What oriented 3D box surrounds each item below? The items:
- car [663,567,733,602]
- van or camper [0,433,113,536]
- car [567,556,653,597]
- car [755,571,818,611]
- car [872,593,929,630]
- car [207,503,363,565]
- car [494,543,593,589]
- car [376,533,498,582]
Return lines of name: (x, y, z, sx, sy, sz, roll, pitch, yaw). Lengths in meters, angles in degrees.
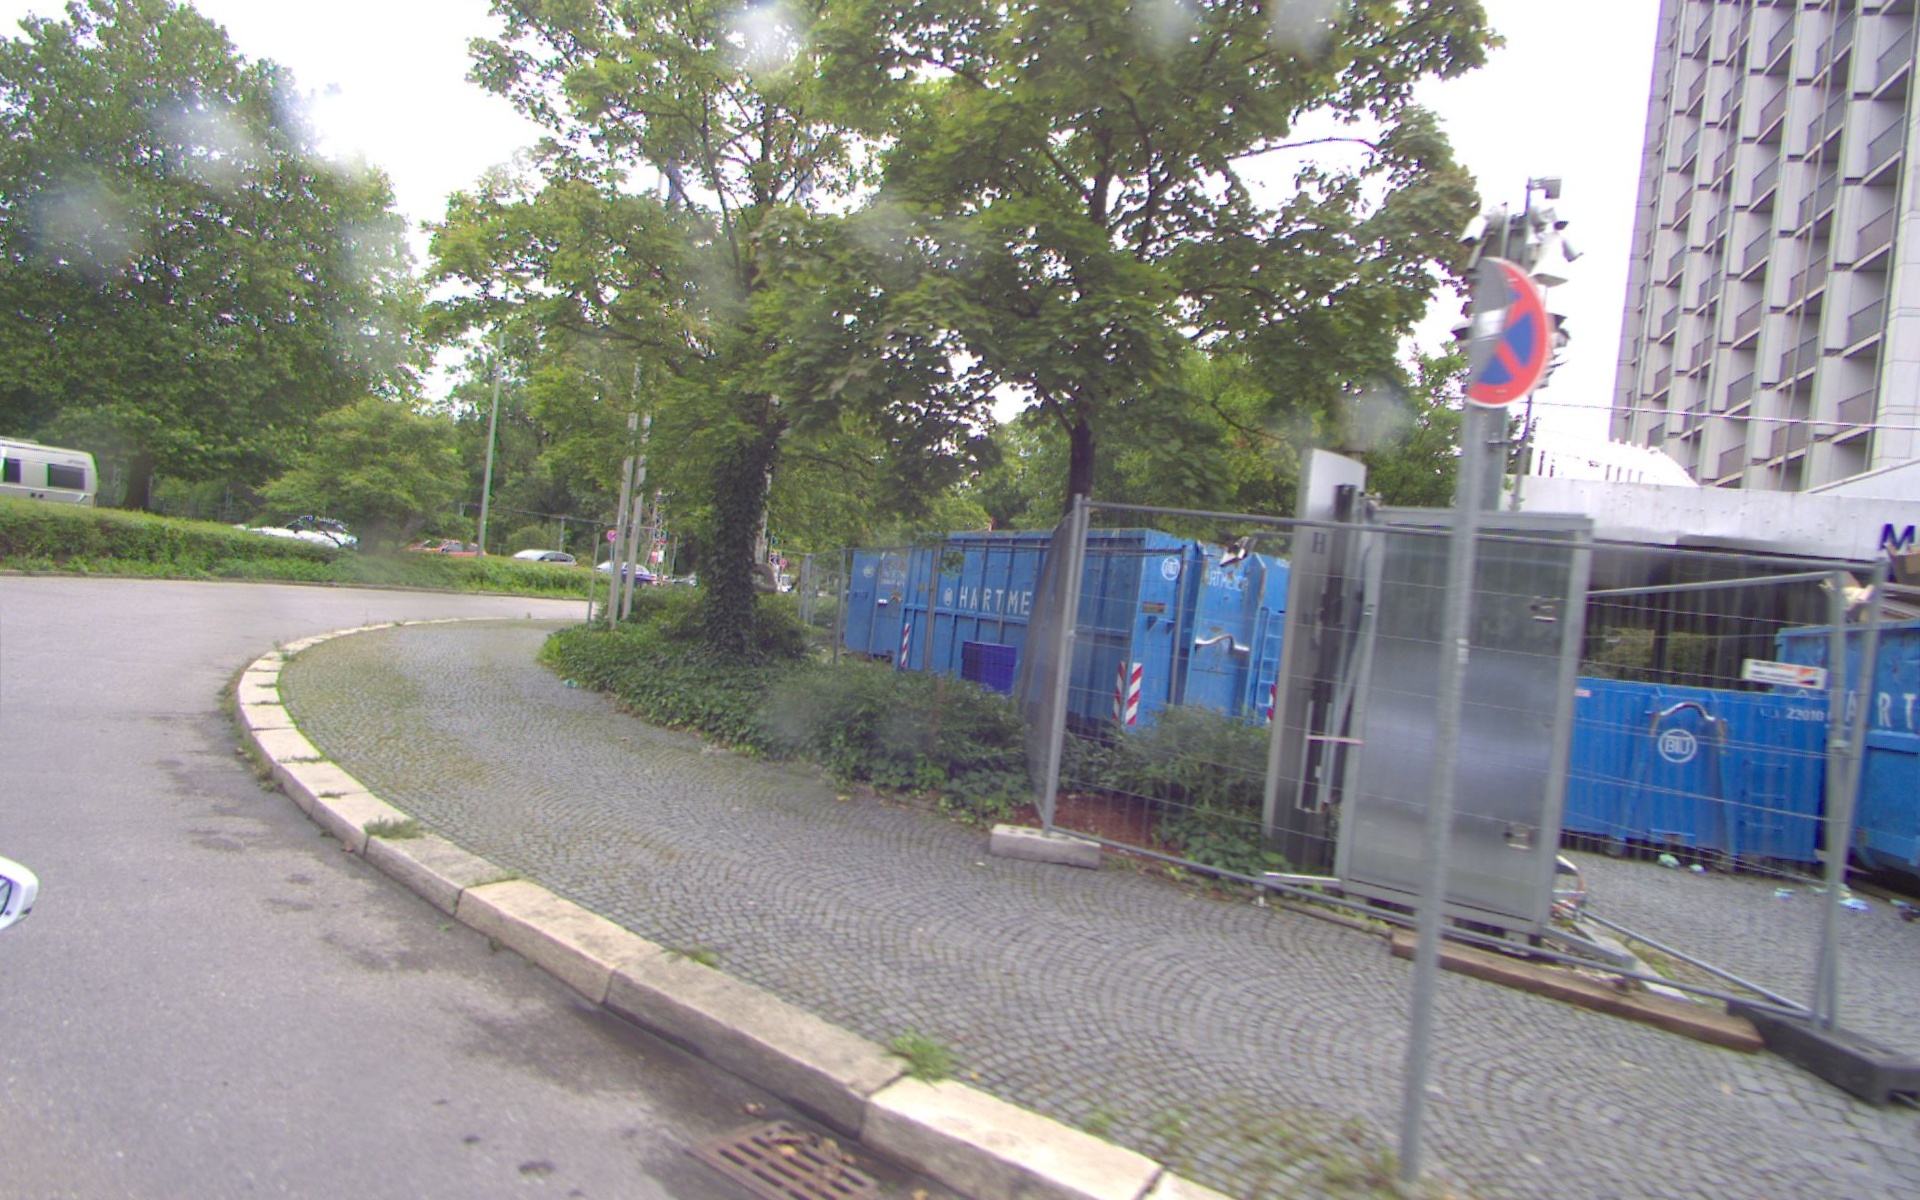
car: (-15.279, -0.863, 58.796, 1.963, 1.593, 4.000, 7, 0, 19)
van or camper: (-25.018, -3.134, 24.882, 2.212, 2.309, 6.421, 7, -1, 4)
car: (-17.759, -1.151, 51.206, 1.963, 1.593, 4.000, 7, 0, 19)
car: (-11.873, -0.595, 69.282, 2.164, 2.255, 4.872, 7, 0, 16)
car: (-3.058, 0.654, 52.545, 1.701, 1.631, 4.002, 7, 0, 15)
car: (-23.113, -2.217, 34.644, 1.963, 1.526, 4.000, 7, 0, 19)
car: (-19.104, -1.545, 46.353, 1.963, 1.593, 4.000, 7, 0, 19)
car: (-21.044, -1.679, 40.661, 1.963, 1.426, 4.000, 7, 0, 19)
